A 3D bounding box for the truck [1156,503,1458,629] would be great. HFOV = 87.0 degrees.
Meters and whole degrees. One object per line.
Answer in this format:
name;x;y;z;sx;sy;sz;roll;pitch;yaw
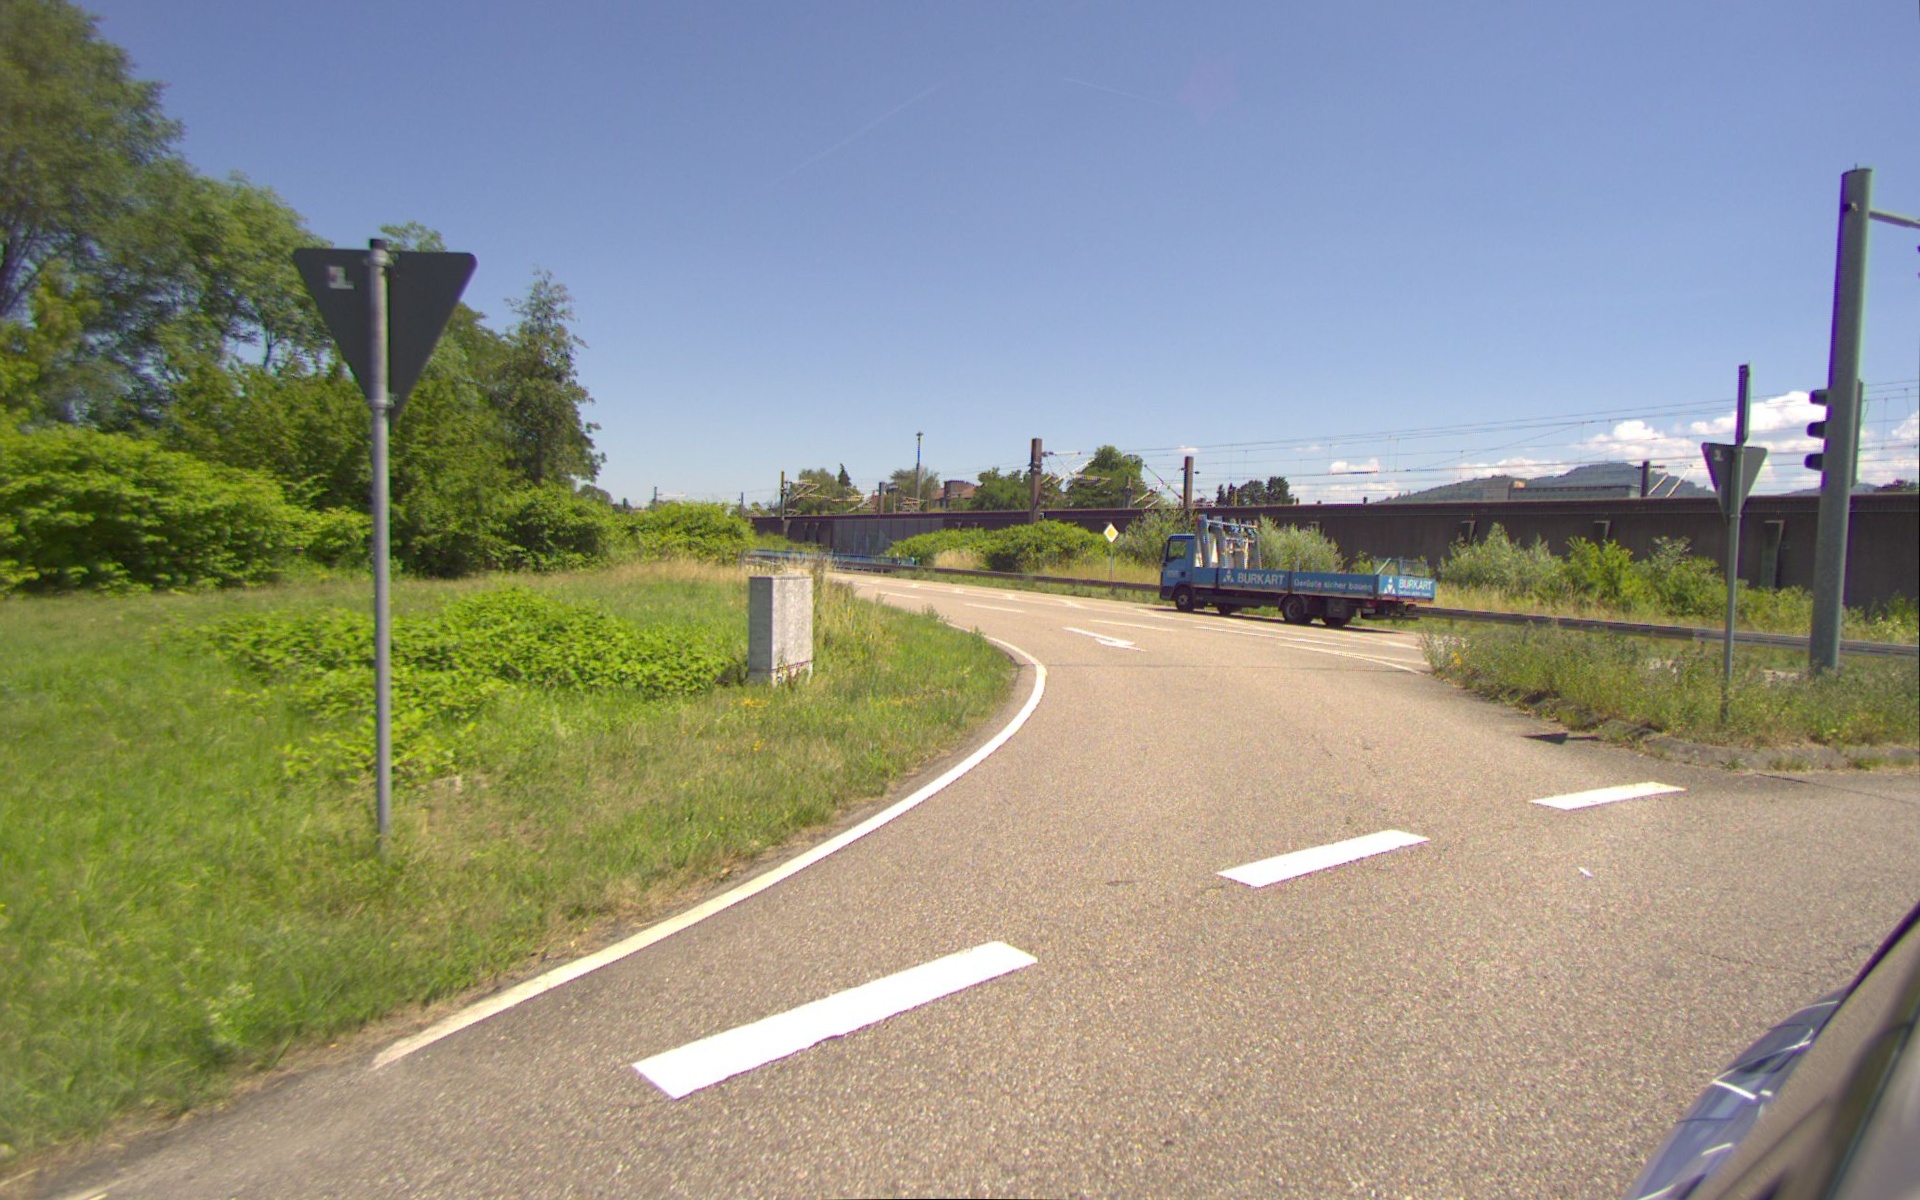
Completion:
truck;10.020;-1.160;30.529;2.864;3.188;8.638;2;3;-31
